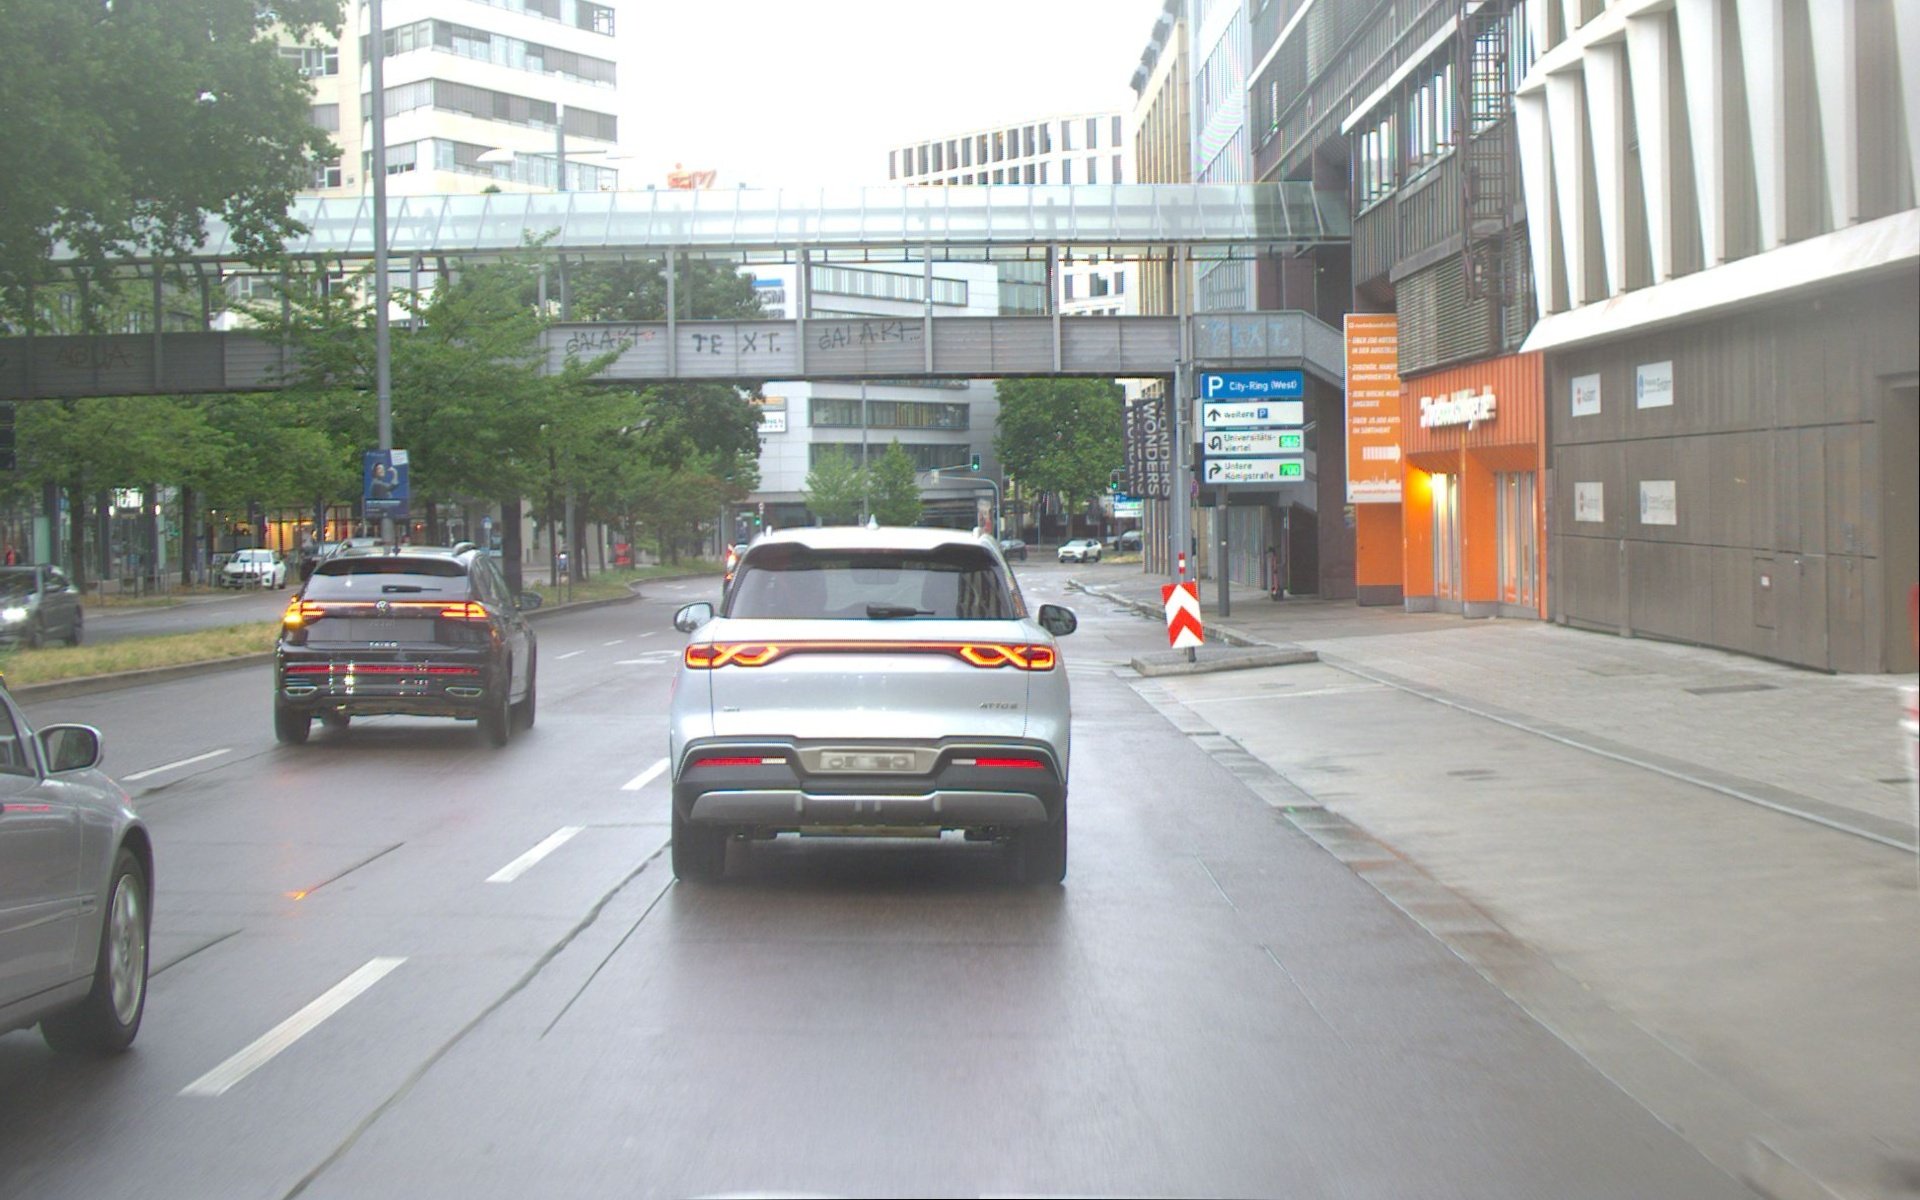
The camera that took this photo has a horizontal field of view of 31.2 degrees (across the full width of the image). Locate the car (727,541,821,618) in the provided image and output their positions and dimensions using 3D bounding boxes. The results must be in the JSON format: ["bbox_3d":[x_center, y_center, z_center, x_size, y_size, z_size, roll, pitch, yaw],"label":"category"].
[{"bbox_3d":[-3.897,-0.457,72.417,1.811,1.573,4.000,0,1,-1],"label":"car"}]

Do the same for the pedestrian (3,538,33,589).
[{"bbox_3d":[-31.962,-1.256,116.653,0.743,1.709,1.057,0,1,-1],"label":"pedestrian"}]

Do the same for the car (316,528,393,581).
[{"bbox_3d":[-18.068,-1.365,102.794,1.661,1.459,4.081,-3,1,-2],"label":"car"}]

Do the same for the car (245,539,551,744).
[{"bbox_3d":[-4.305,0.284,26.879,1.774,1.452,4.000,-1,0,-1],"label":"car"}]

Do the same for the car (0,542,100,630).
[{"bbox_3d":[-16.169,-0.241,58.867,1.691,1.433,4.759,-1,0,0],"label":"car"}]

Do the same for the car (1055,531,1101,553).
[{"bbox_3d":[8.357,-4.096,243.351,1.583,1.533,3.993,1,1,30],"label":"car"}]

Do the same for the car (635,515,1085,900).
[{"bbox_3d":[-0.439,0.435,16.771,1.901,1.616,4.000,1,1,0],"label":"car"}]

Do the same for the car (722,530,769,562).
[{"bbox_3d":[-9.142,-2.329,146.906,1.653,1.337,4.000,0,1,2],"label":"car"}]

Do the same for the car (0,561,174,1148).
[{"bbox_3d":[-3.243,0.637,8.388,1.672,1.474,4.360,0,0,0],"label":"car"}]
